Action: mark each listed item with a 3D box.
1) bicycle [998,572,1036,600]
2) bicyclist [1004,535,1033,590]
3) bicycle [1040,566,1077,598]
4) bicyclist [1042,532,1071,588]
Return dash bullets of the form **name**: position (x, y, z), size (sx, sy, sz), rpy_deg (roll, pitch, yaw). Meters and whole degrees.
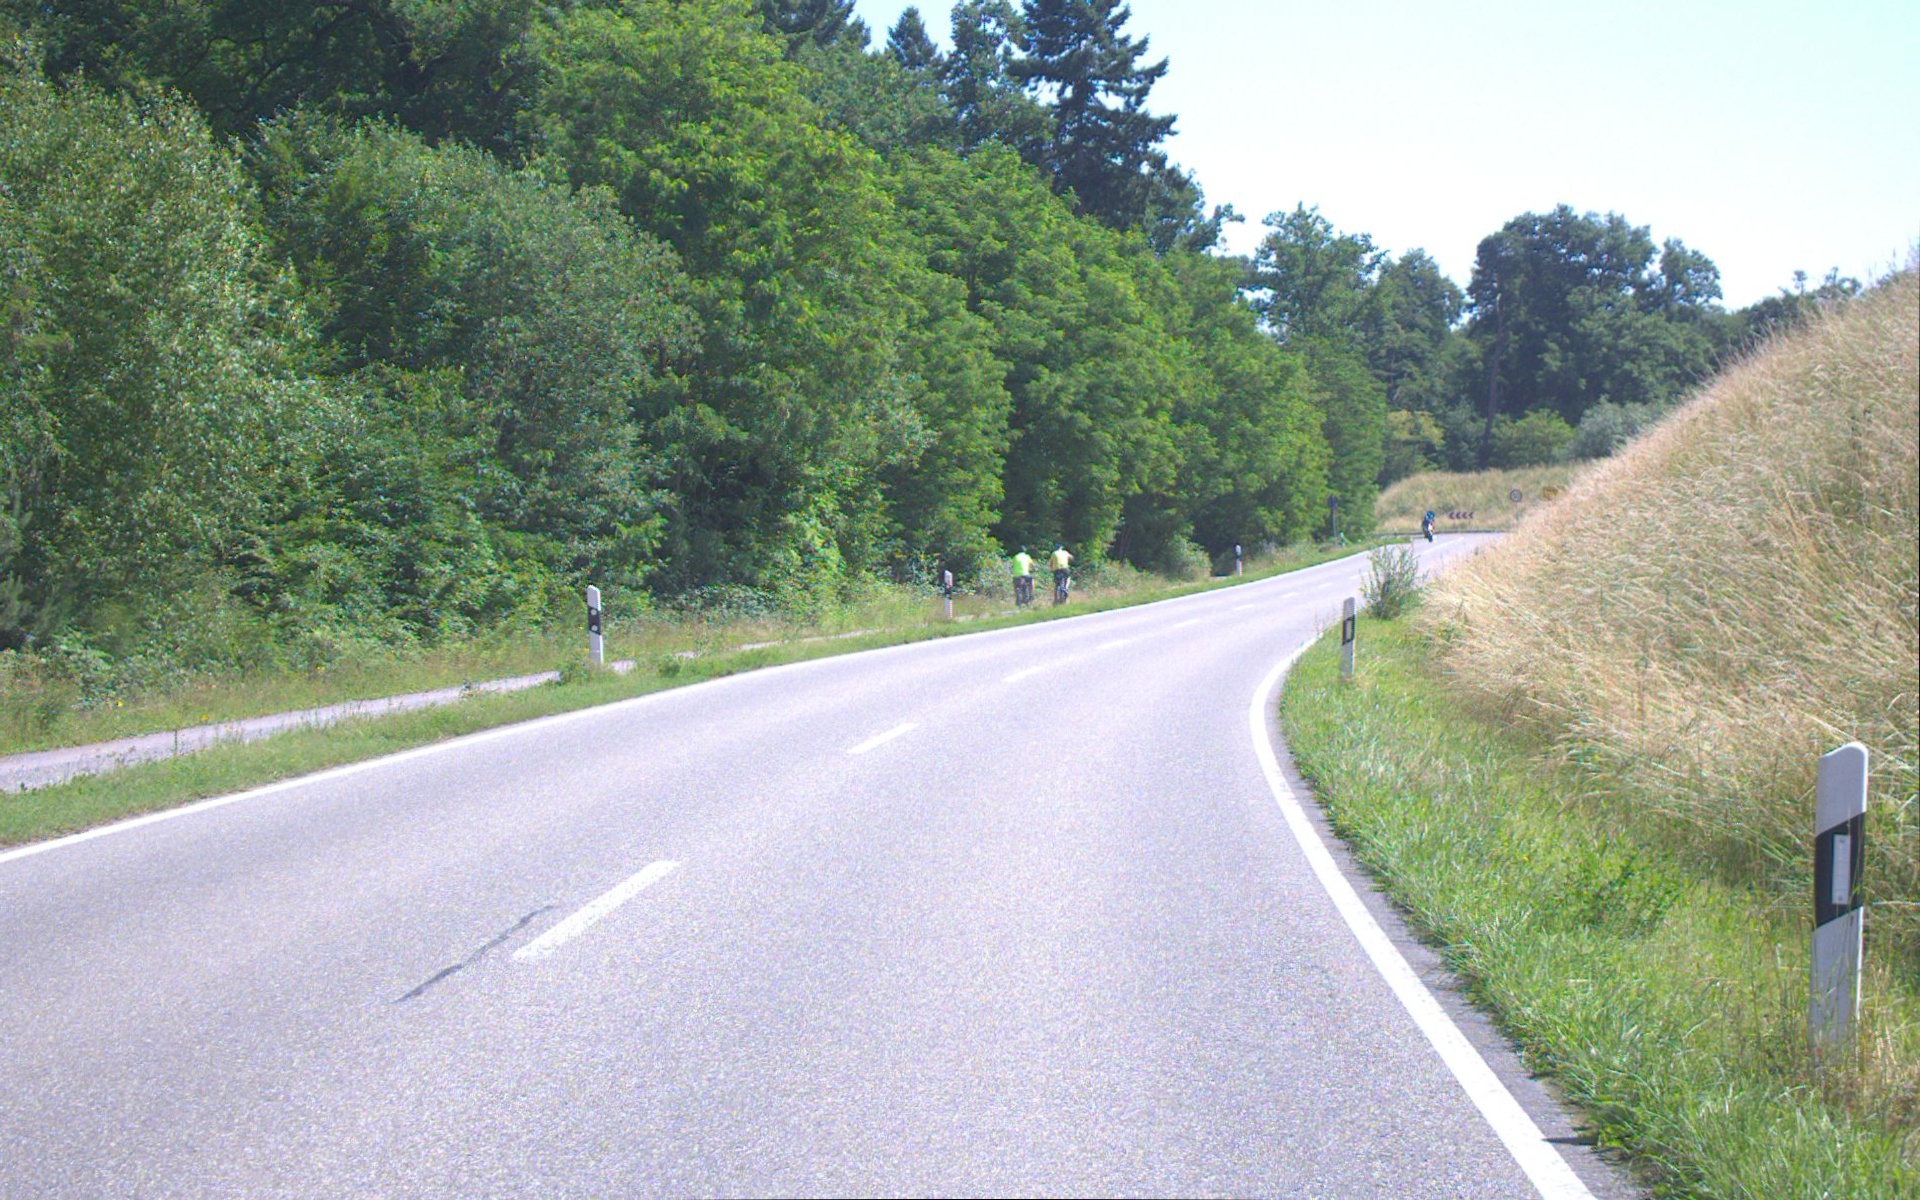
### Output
- **bicycle**: position (1.480, -0.377, 89.300), size (0.619, 0.679, 2.136), rpy_deg (-2, 1, 10)
- **bicyclist**: position (1.528, -0.972, 89.468), size (0.605, 1.410, 0.702), rpy_deg (-2, 1, 10)
- **bicycle**: position (2.558, -0.463, 89.216), size (0.640, 0.785, 2.136), rpy_deg (-2, 1, 10)
- **bicyclist**: position (2.516, -1.041, 89.267), size (0.605, 1.410, 0.702), rpy_deg (-2, 1, 10)
